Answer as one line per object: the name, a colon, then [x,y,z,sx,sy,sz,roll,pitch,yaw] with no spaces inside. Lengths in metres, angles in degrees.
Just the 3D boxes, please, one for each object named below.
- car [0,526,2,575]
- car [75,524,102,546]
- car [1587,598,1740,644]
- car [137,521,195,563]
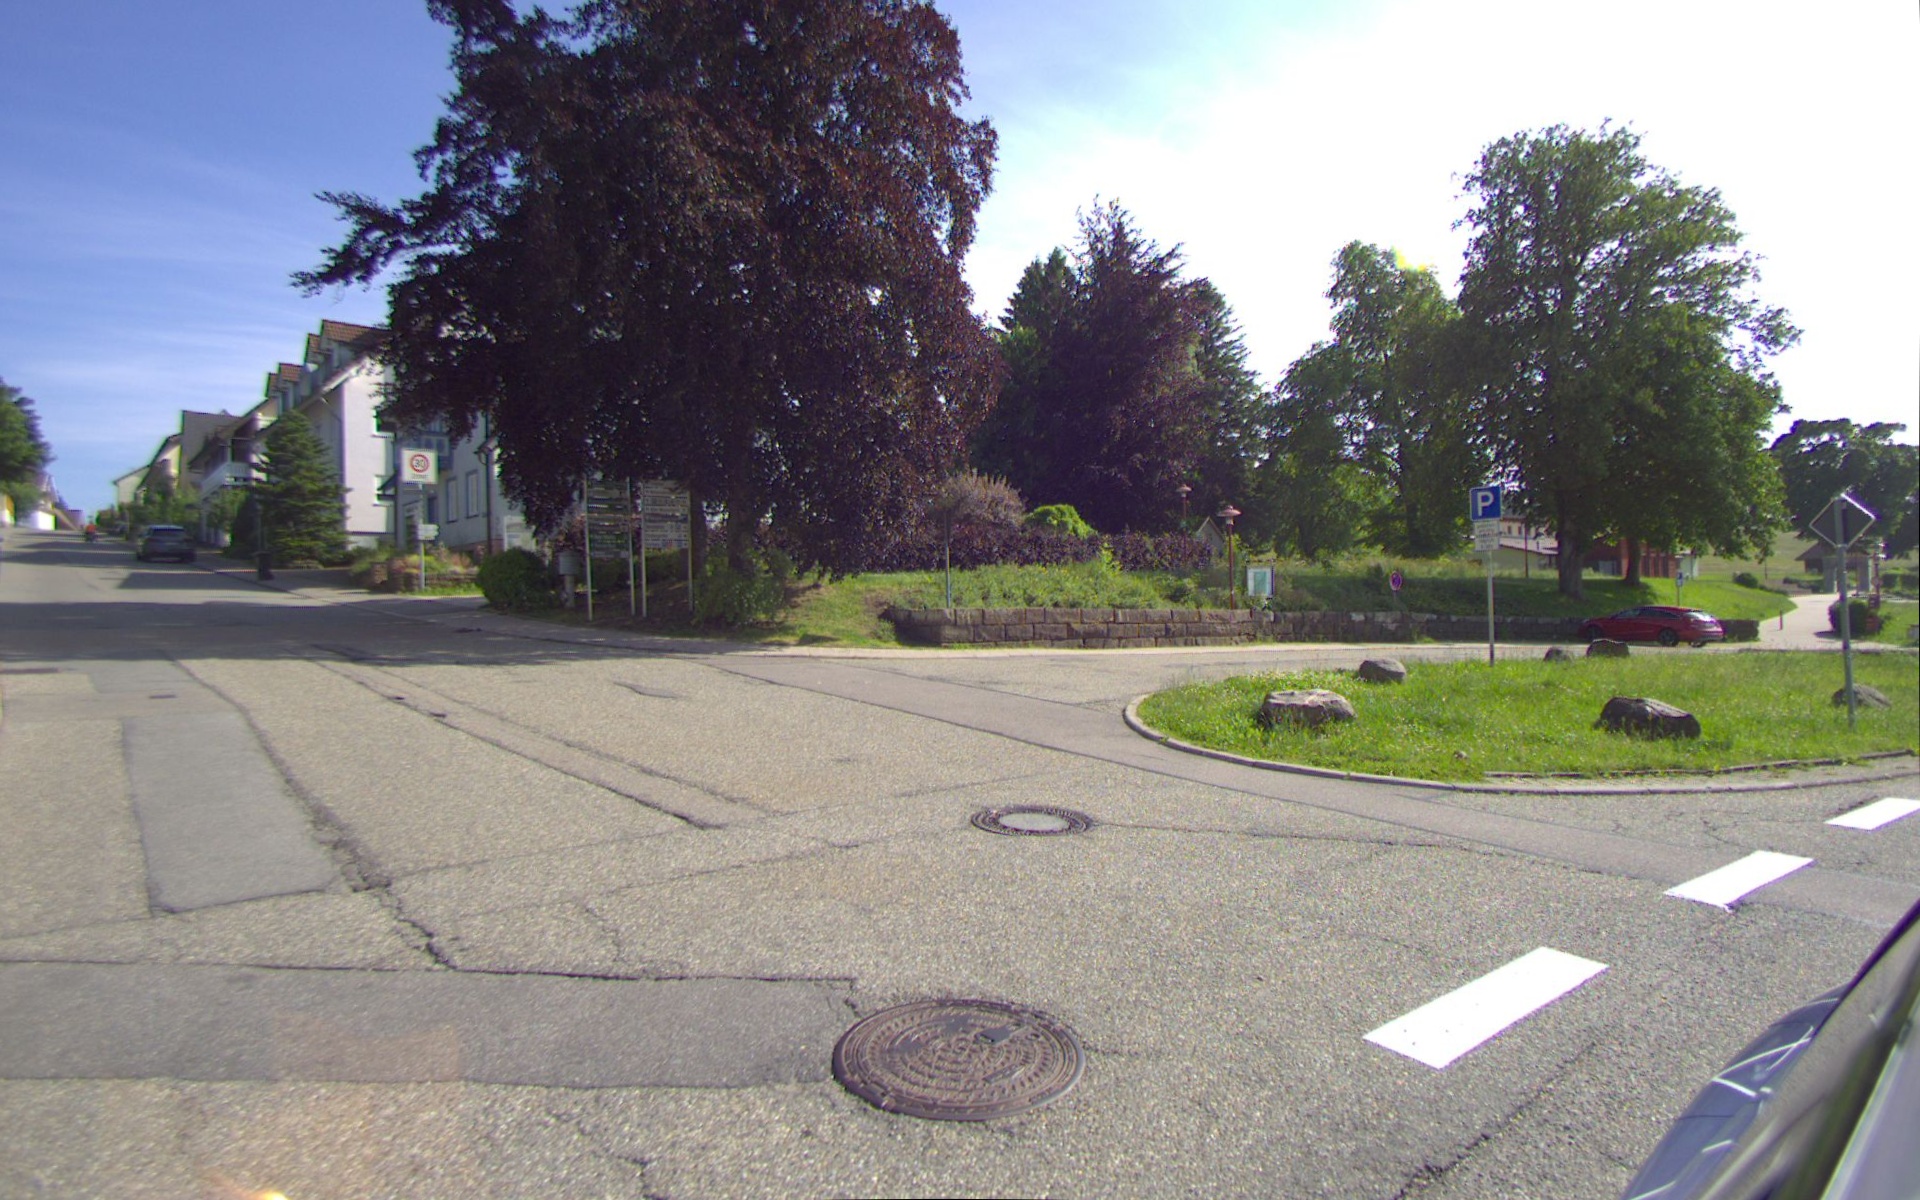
car: [-29.292,-1.462,29.557,1.709,1.481,3.268,0,3,-40]
car: [-64.277,-4.783,74.620,1.347,1.467,2.773,2,0,-43]
car: [25.010,0.698,36.158,1.666,1.446,4.276,0,1,-22]
car: [-36.310,-2.639,46.254,1.965,1.760,3.996,0,3,-40]
